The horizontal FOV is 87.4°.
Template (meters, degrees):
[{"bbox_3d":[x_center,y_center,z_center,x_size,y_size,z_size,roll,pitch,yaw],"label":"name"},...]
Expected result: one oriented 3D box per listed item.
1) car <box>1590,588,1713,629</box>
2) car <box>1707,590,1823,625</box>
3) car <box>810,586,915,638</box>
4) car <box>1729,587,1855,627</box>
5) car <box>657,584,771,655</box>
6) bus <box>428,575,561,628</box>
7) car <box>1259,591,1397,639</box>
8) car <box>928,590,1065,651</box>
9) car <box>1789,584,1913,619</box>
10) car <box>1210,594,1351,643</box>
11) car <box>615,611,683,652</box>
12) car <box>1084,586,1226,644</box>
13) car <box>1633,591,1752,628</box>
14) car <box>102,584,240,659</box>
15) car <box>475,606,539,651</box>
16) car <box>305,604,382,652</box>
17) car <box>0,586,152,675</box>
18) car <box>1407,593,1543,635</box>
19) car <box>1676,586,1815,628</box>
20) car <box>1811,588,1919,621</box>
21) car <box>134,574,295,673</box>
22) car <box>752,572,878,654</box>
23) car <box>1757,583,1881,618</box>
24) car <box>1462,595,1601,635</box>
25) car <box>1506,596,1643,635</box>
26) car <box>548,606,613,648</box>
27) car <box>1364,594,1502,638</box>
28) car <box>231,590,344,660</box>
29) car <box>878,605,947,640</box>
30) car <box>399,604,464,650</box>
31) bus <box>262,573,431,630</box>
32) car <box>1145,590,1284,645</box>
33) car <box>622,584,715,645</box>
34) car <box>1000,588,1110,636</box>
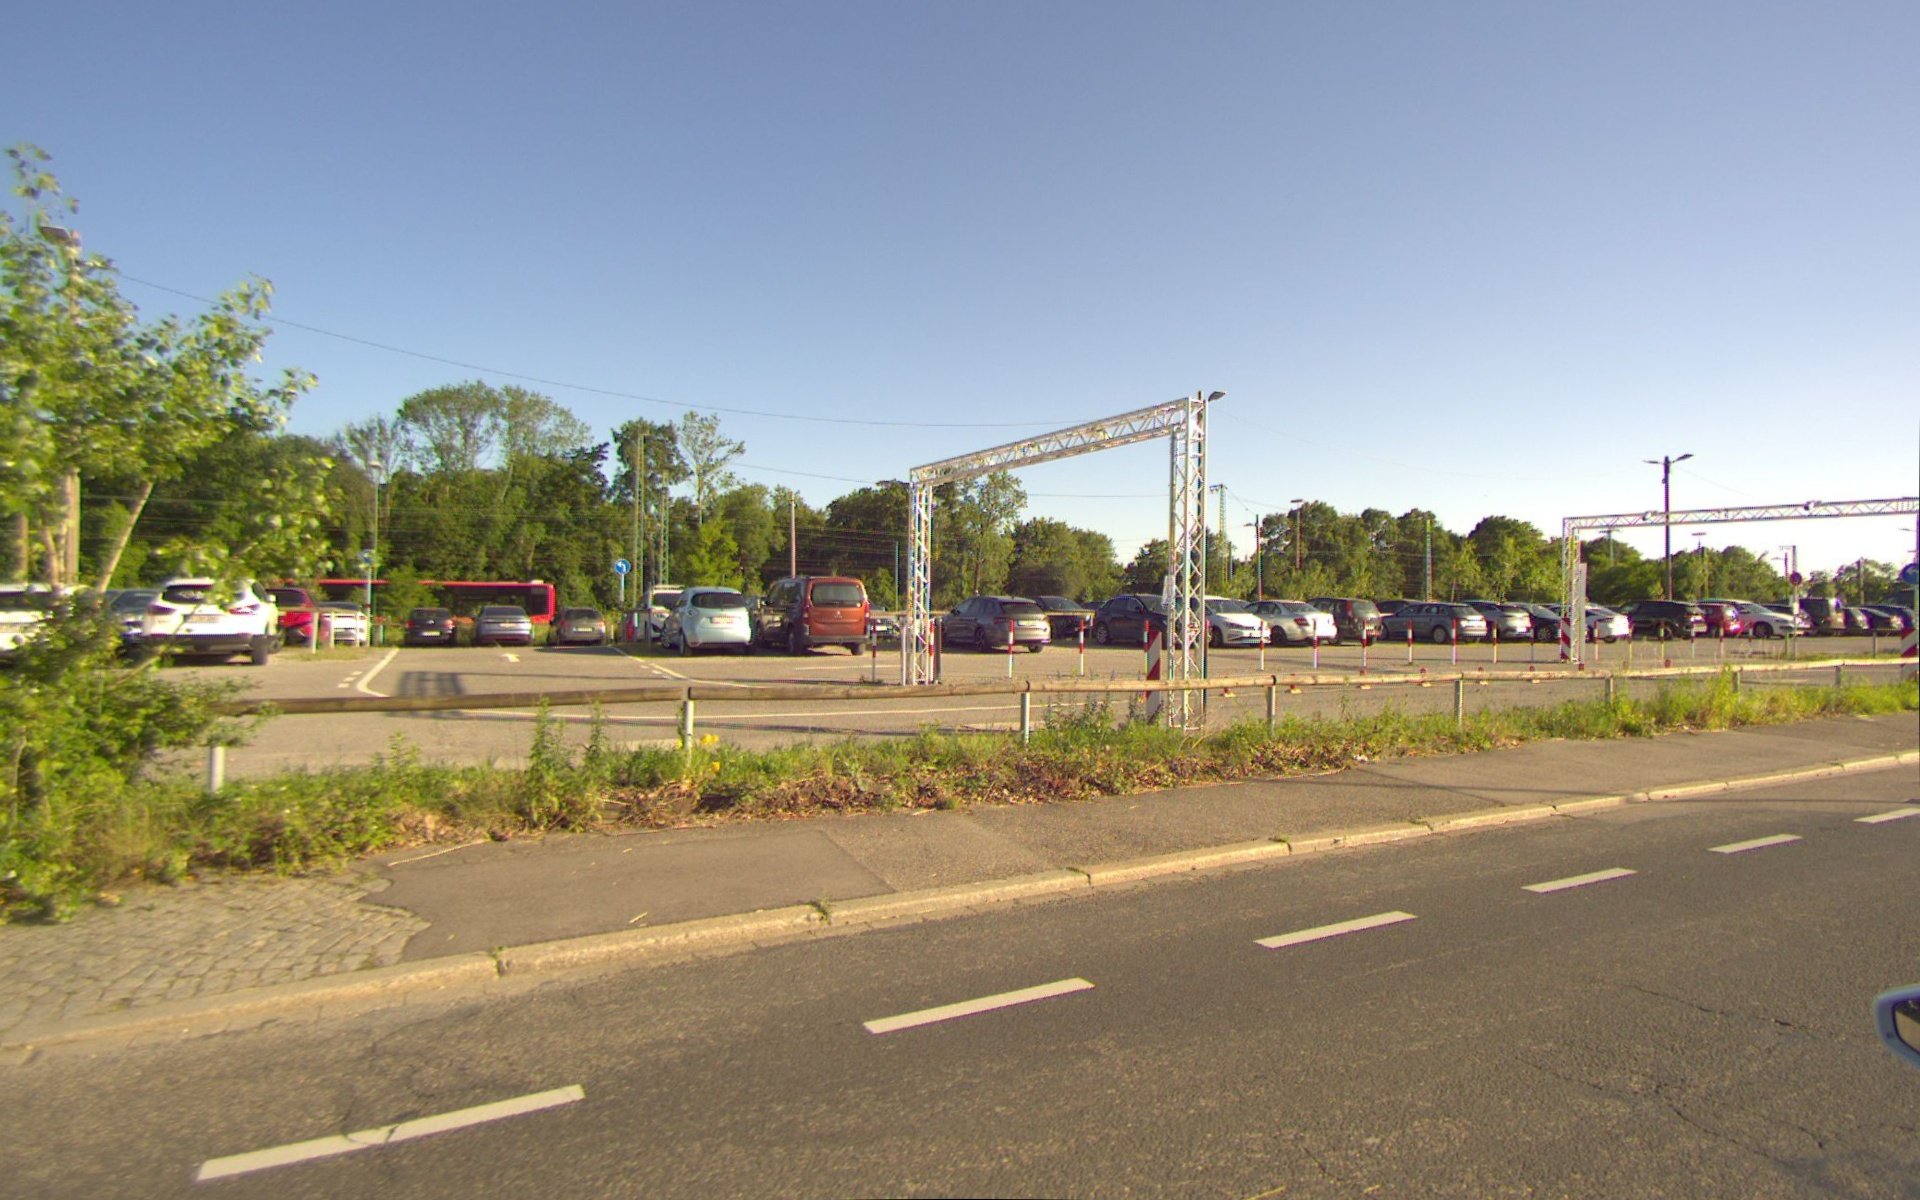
[{"bbox_3d":[28.949,0.316,42.184,1.854,1.625,3.868,-1,1,-27],"label":"car"},{"bbox_3d":[37.802,0.320,47.275,1.854,1.540,3.868,-1,1,-27],"label":"car"},{"bbox_3d":[-3.063,0.336,30.948,1.870,1.485,3.971,-1,1,-28],"label":"car"},{"bbox_3d":[40.094,0.296,48.503,1.854,1.816,4.305,-1,1,-27],"label":"car"},{"bbox_3d":[-6.050,0.403,24.365,1.832,1.566,4.352,-1,1,-26],"label":"car"},{"bbox_3d":[-21.741,0.078,47.103,5.514,2.379,2.531,0,0,-26],"label":"bus"},{"bbox_3d":[12.267,0.439,33.770,1.853,1.483,4.307,-1,1,-26],"label":"car"},{"bbox_3d":[0.887,0.492,27.328,1.963,1.500,4.564,-1,1,-23],"label":"car"},{"bbox_3d":[44.834,0.047,50.624,1.854,1.640,4.305,-1,1,-27],"label":"car"},{"bbox_3d":[10.157,0.540,32.173,1.853,1.412,4.307,-1,1,-26],"label":"car"},{"bbox_3d":[-12.093,1.168,38.947,1.912,1.501,3.594,0,0,-27],"label":"car"},{"bbox_3d":[5.736,0.385,30.107,1.832,1.606,4.561,-1,1,-26],"label":"car"},{"bbox_3d":[32.484,0.383,44.640,1.854,1.540,3.868,-1,1,-27],"label":"car"},{"bbox_3d":[-18.205,0.434,23.358,1.890,1.570,3.969,-1,1,-29],"label":"car"},{"bbox_3d":[-16.190,0.967,35.819,1.912,1.501,3.594,0,0,-27],"label":"car"},{"bbox_3d":[-20.585,0.894,33.659,1.912,1.501,3.594,0,0,-27],"label":"car"},{"bbox_3d":[-16.041,0.487,17.822,2.024,1.416,4.140,0,0,-30],"label":"car"},{"bbox_3d":[19.299,0.473,37.828,1.854,1.439,4.305,-1,1,-27],"label":"car"},{"bbox_3d":[35.363,0.275,45.377,2.028,1.764,4.569,-1,1,-23],"label":"car"},{"bbox_3d":[47.036,0.209,51.990,1.854,1.640,4.191,-1,1,-27],"label":"car"},{"bbox_3d":[-14.156,0.396,19.321,1.943,1.684,4.141,0,0,-29],"label":"car"},{"bbox_3d":[-3.700,0.262,24.909,1.832,1.829,4.561,-1,1,-26],"label":"car"},{"bbox_3d":[42.471,0.005,49.775,1.854,1.640,4.305,-1,1,-27],"label":"car"},{"bbox_3d":[21.686,0.542,38.305,1.854,1.395,4.305,-1,1,-27],"label":"car"},{"bbox_3d":[24.199,0.558,39.720,1.854,1.395,4.305,-1,1,-27],"label":"car"},{"bbox_3d":[-14.322,0.983,37.804,1.912,1.501,3.594,0,0,-27],"label":"car"},{"bbox_3d":[16.938,0.524,36.199,1.854,1.439,4.305,-1,1,-27],"label":"car"},{"bbox_3d":[-16.281,0.546,24.510,1.943,1.550,4.141,0,0,-29],"label":"car"},{"bbox_3d":[-2.123,0.969,44.379,1.704,1.501,3.594,0,0,-27],"label":"car"},{"bbox_3d":[-18.671,0.923,35.556,1.912,1.501,3.594,0,0,-27],"label":"car"},{"bbox_3d":[-26.969,0.066,44.524,6.122,2.379,2.531,0,0,-26],"label":"bus"},{"bbox_3d":[7.773,0.484,31.111,1.853,1.544,4.307,-1,1,-26],"label":"car"},{"bbox_3d":[-8.349,0.352,28.548,1.832,1.566,4.352,-1,1,-26],"label":"car"},{"bbox_3d":[3.188,0.351,34.716,1.853,1.544,4.307,-1,1,-26],"label":"car"}]
